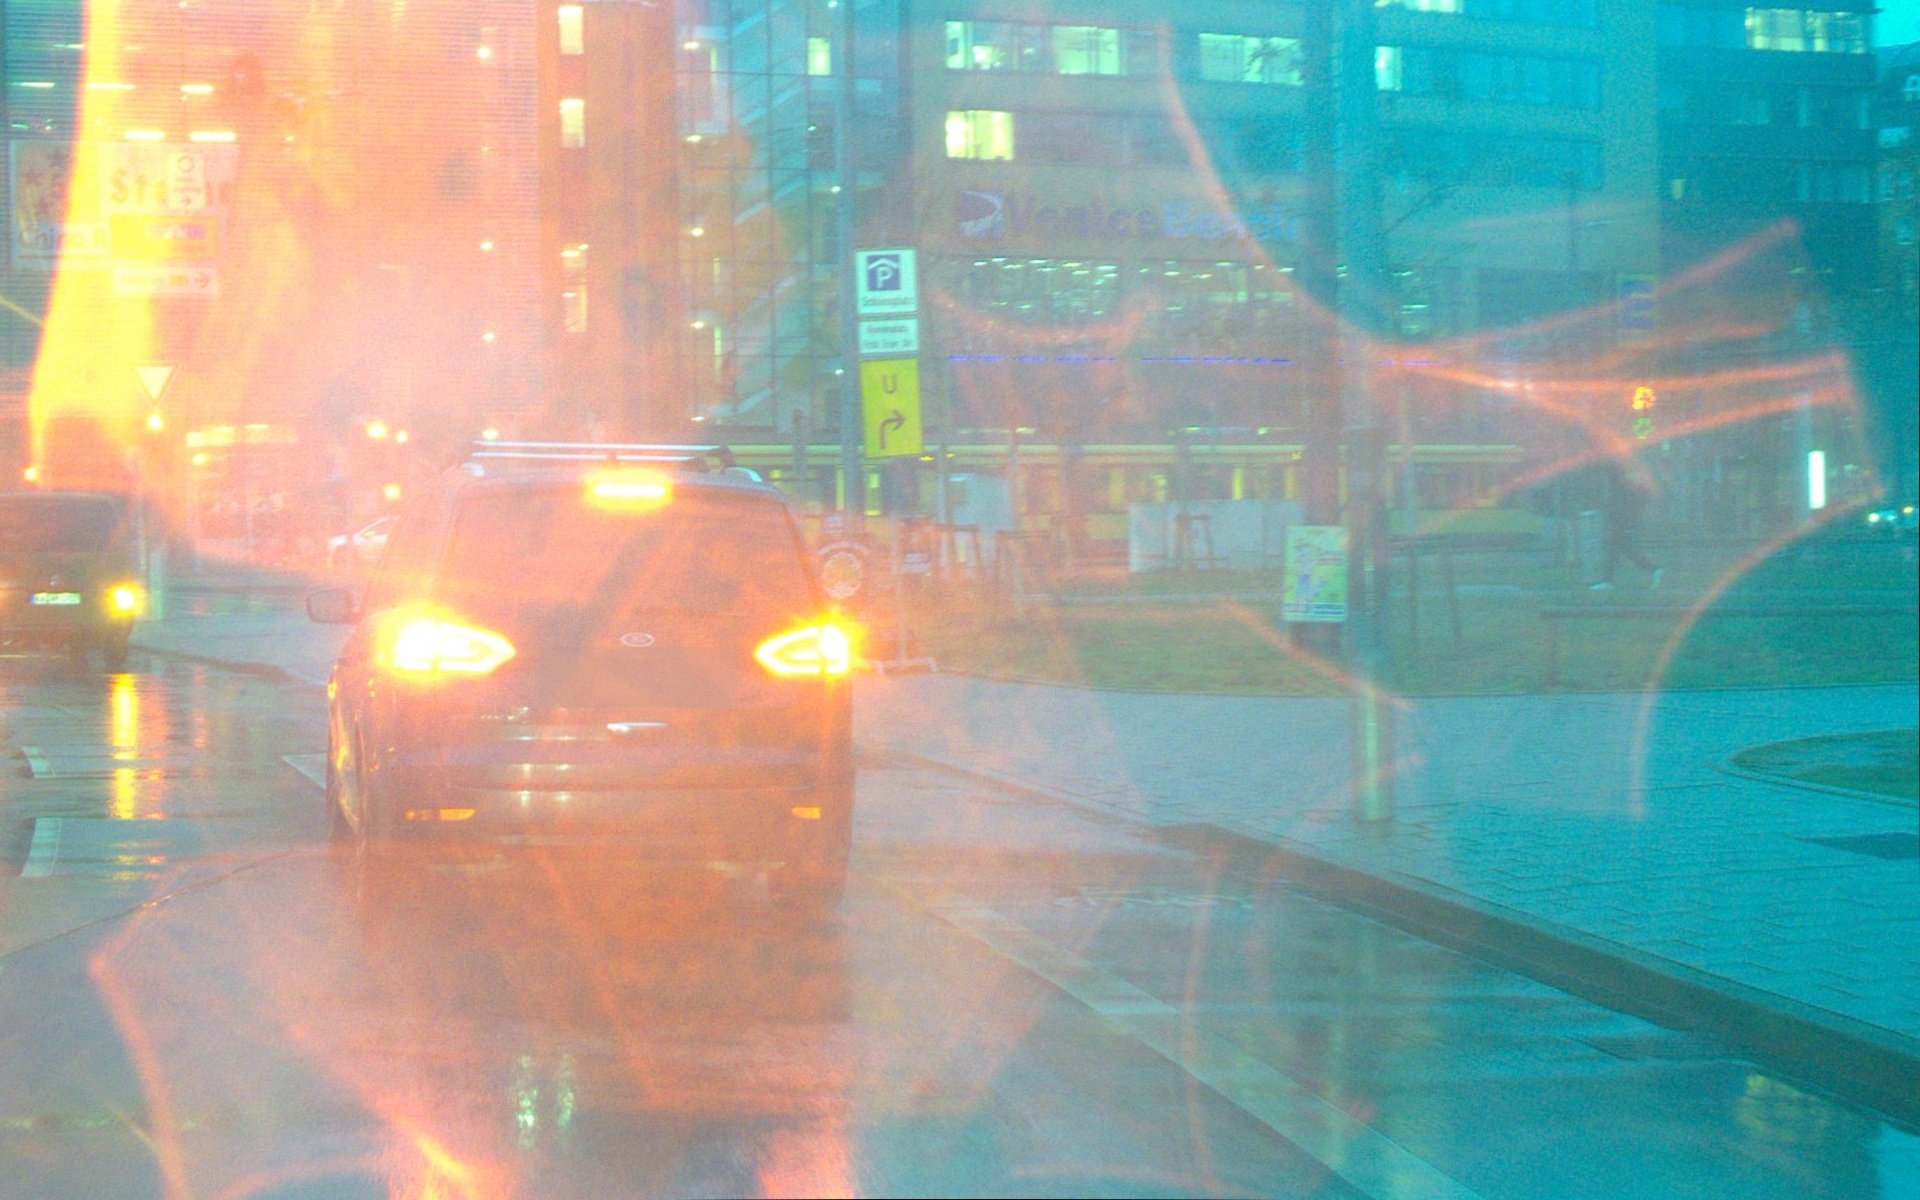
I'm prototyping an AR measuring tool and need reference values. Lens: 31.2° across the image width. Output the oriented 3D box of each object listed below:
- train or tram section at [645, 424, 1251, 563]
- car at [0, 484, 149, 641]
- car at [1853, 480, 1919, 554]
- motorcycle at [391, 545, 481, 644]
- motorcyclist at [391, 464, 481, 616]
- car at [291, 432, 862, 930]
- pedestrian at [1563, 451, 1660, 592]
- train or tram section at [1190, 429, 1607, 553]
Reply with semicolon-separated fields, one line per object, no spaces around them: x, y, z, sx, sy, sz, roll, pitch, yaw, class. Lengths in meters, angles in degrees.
0.028;-2.699;86.158;16.606;3.249;2.337;-2;2;-34;train or tram section
-10.317;-0.430;38.861;1.635;1.691;3.672;0;1;-23;car
27.166;-2.275;95.942;3.986;2.007;2.000;1;1;-29;car
-5.384;-0.066;35.371;0.852;0.968;1.582;-1;1;-7;motorcycle
-5.382;-0.625;35.340;0.868;1.529;1.108;-1;1;-7;motorcyclist
-1.745;0.260;14.259;1.734;1.732;4.248;2;1;-14;car
9.106;-1.100;48.091;1.170;1.917;0.898;2;1;4;pedestrian
12.172;-3.008;94.185;12.959;3.249;2.337;-2;2;-34;train or tram section
